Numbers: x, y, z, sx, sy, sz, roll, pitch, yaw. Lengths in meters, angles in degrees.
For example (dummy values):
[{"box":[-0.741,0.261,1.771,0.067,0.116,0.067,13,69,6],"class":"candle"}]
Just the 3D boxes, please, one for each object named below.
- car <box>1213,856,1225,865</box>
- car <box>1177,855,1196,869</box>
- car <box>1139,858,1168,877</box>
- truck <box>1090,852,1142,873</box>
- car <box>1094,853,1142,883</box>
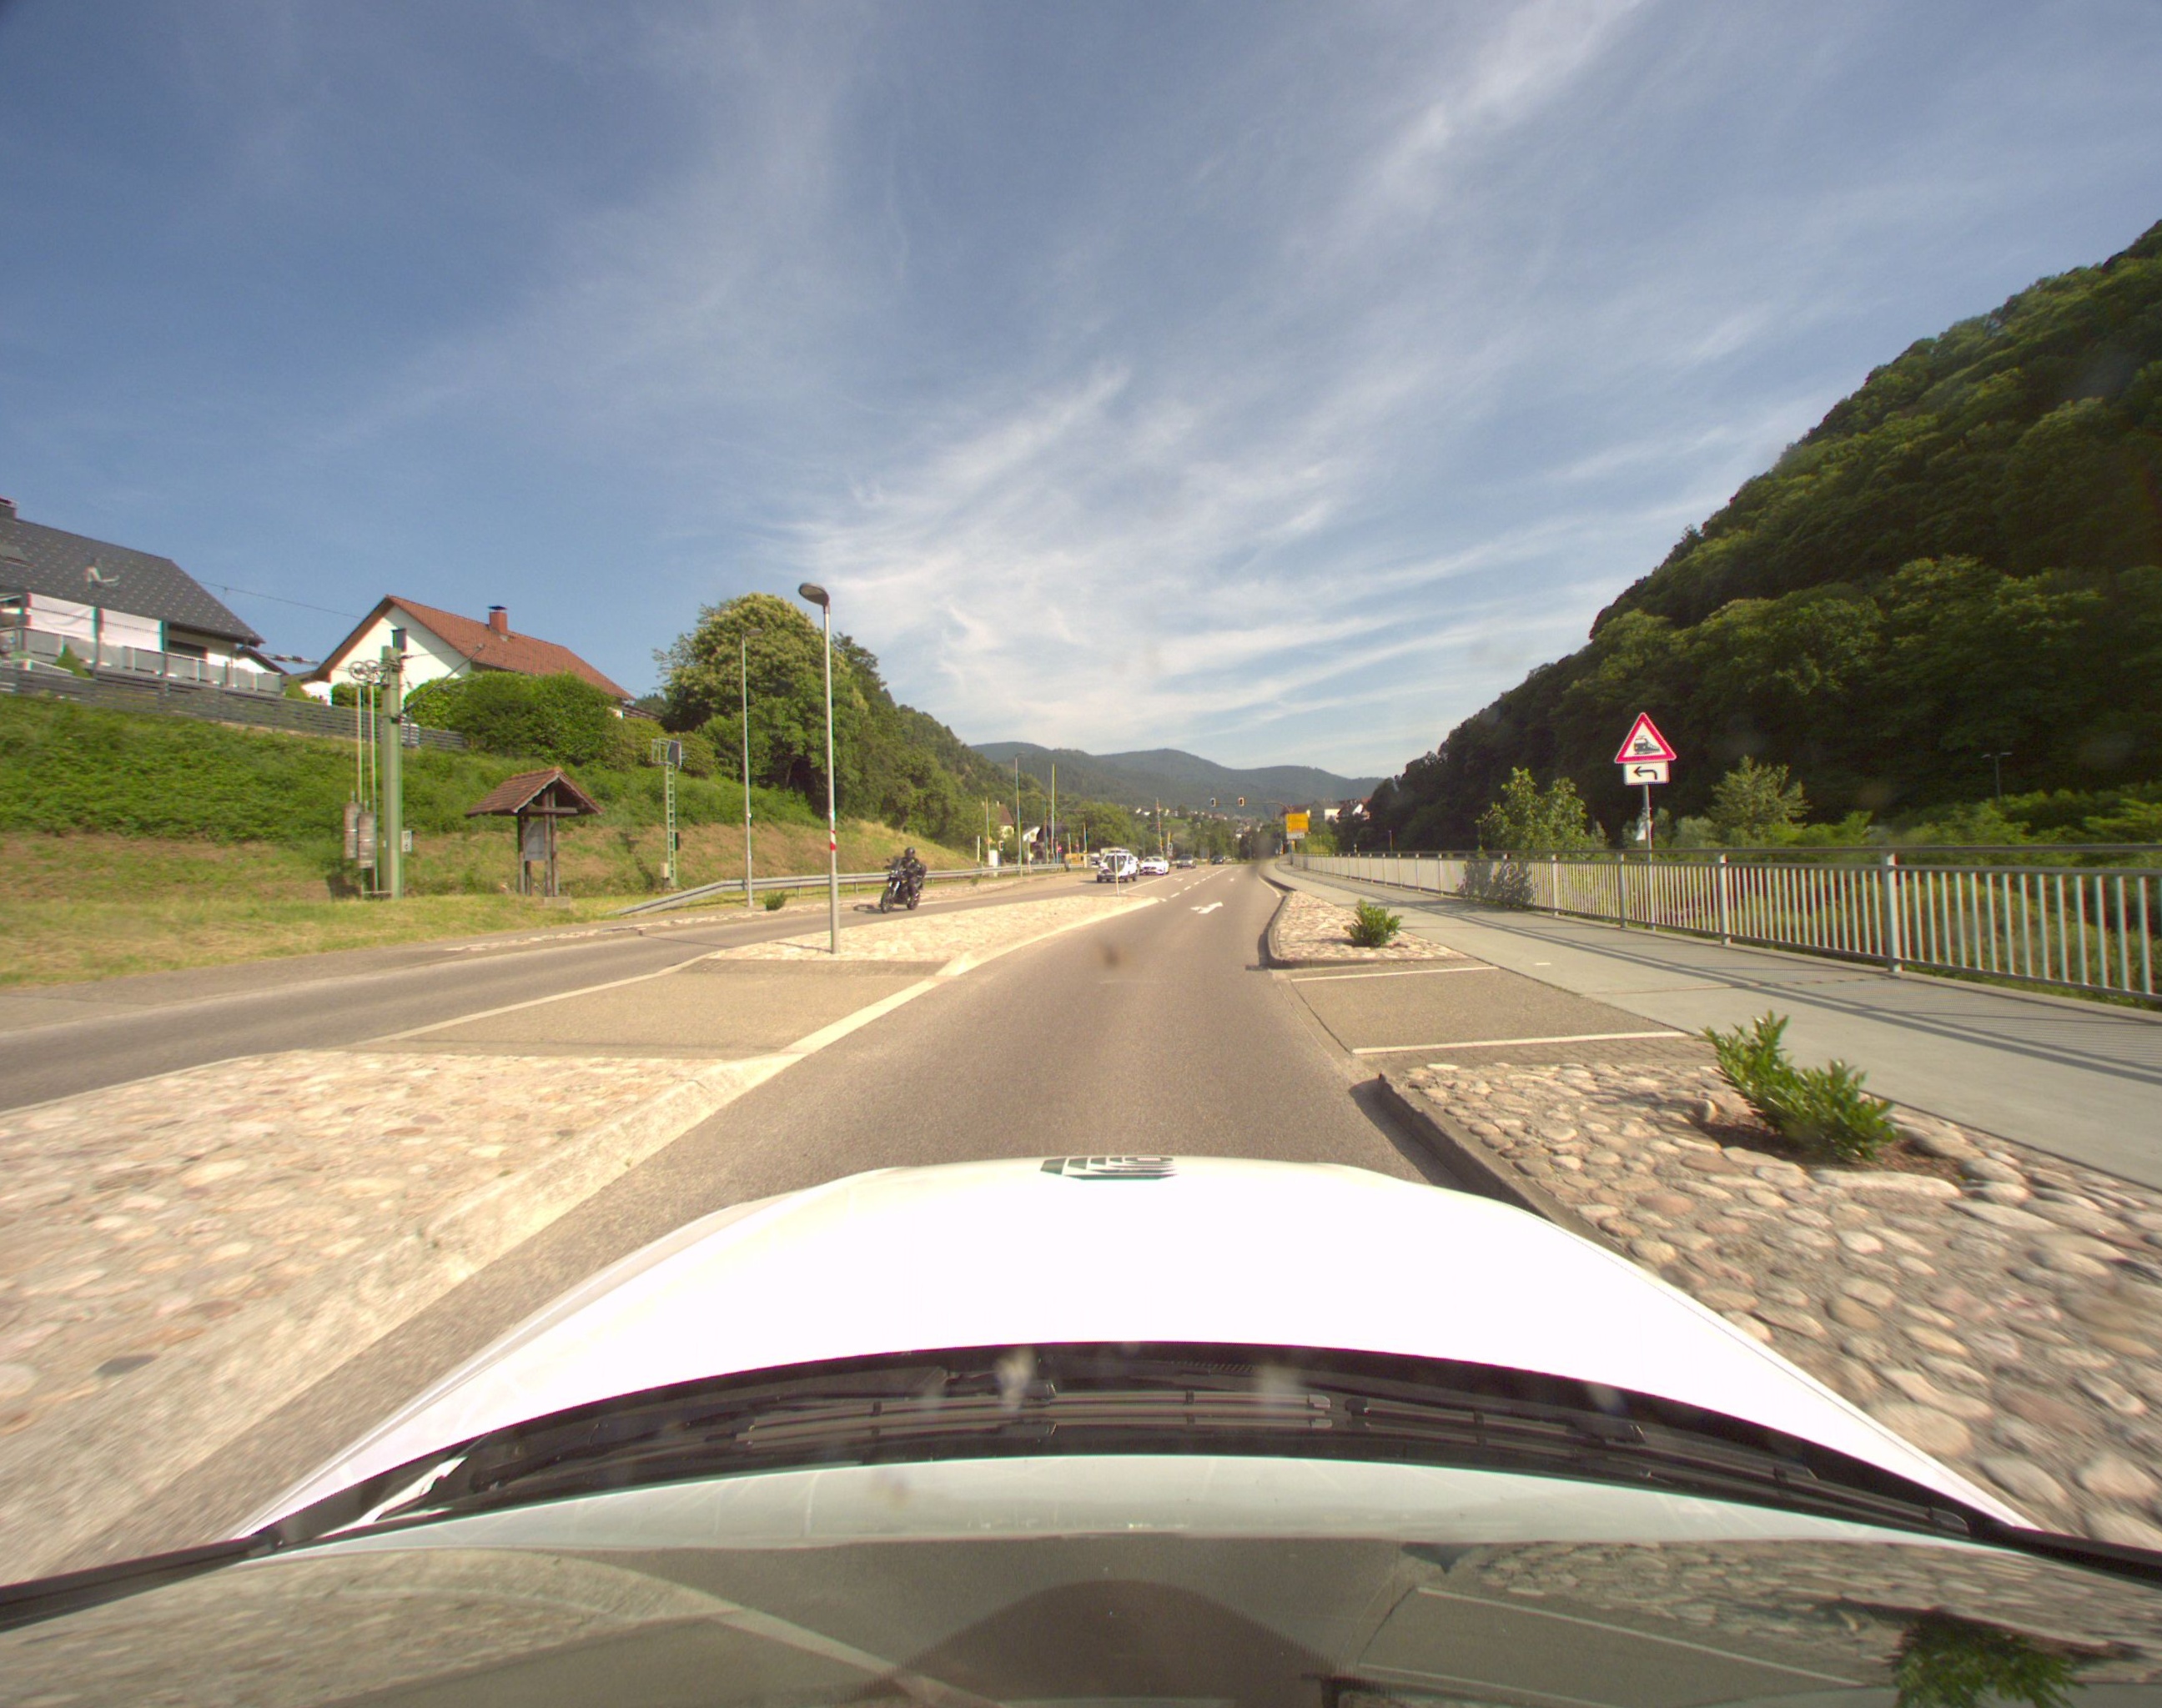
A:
[{"box":[21.852,0.995,128.907,1.761,1.416,3.797,-3,0,12],"class":"car"},{"box":[11.656,0.900,89.647,1.746,1.521,4.218,-1,-1,12],"class":"car"},{"box":[5.580,1.009,62.346,1.771,1.400,4.840,-1,-1,10],"class":"car"},{"box":[3.842,0.885,90.623,5.928,2.266,2.012,0,-1,44],"class":"truck"},{"box":[2.107,0.764,45.512,1.750,1.560,4.016,-2,-1,16],"class":"car"}]
